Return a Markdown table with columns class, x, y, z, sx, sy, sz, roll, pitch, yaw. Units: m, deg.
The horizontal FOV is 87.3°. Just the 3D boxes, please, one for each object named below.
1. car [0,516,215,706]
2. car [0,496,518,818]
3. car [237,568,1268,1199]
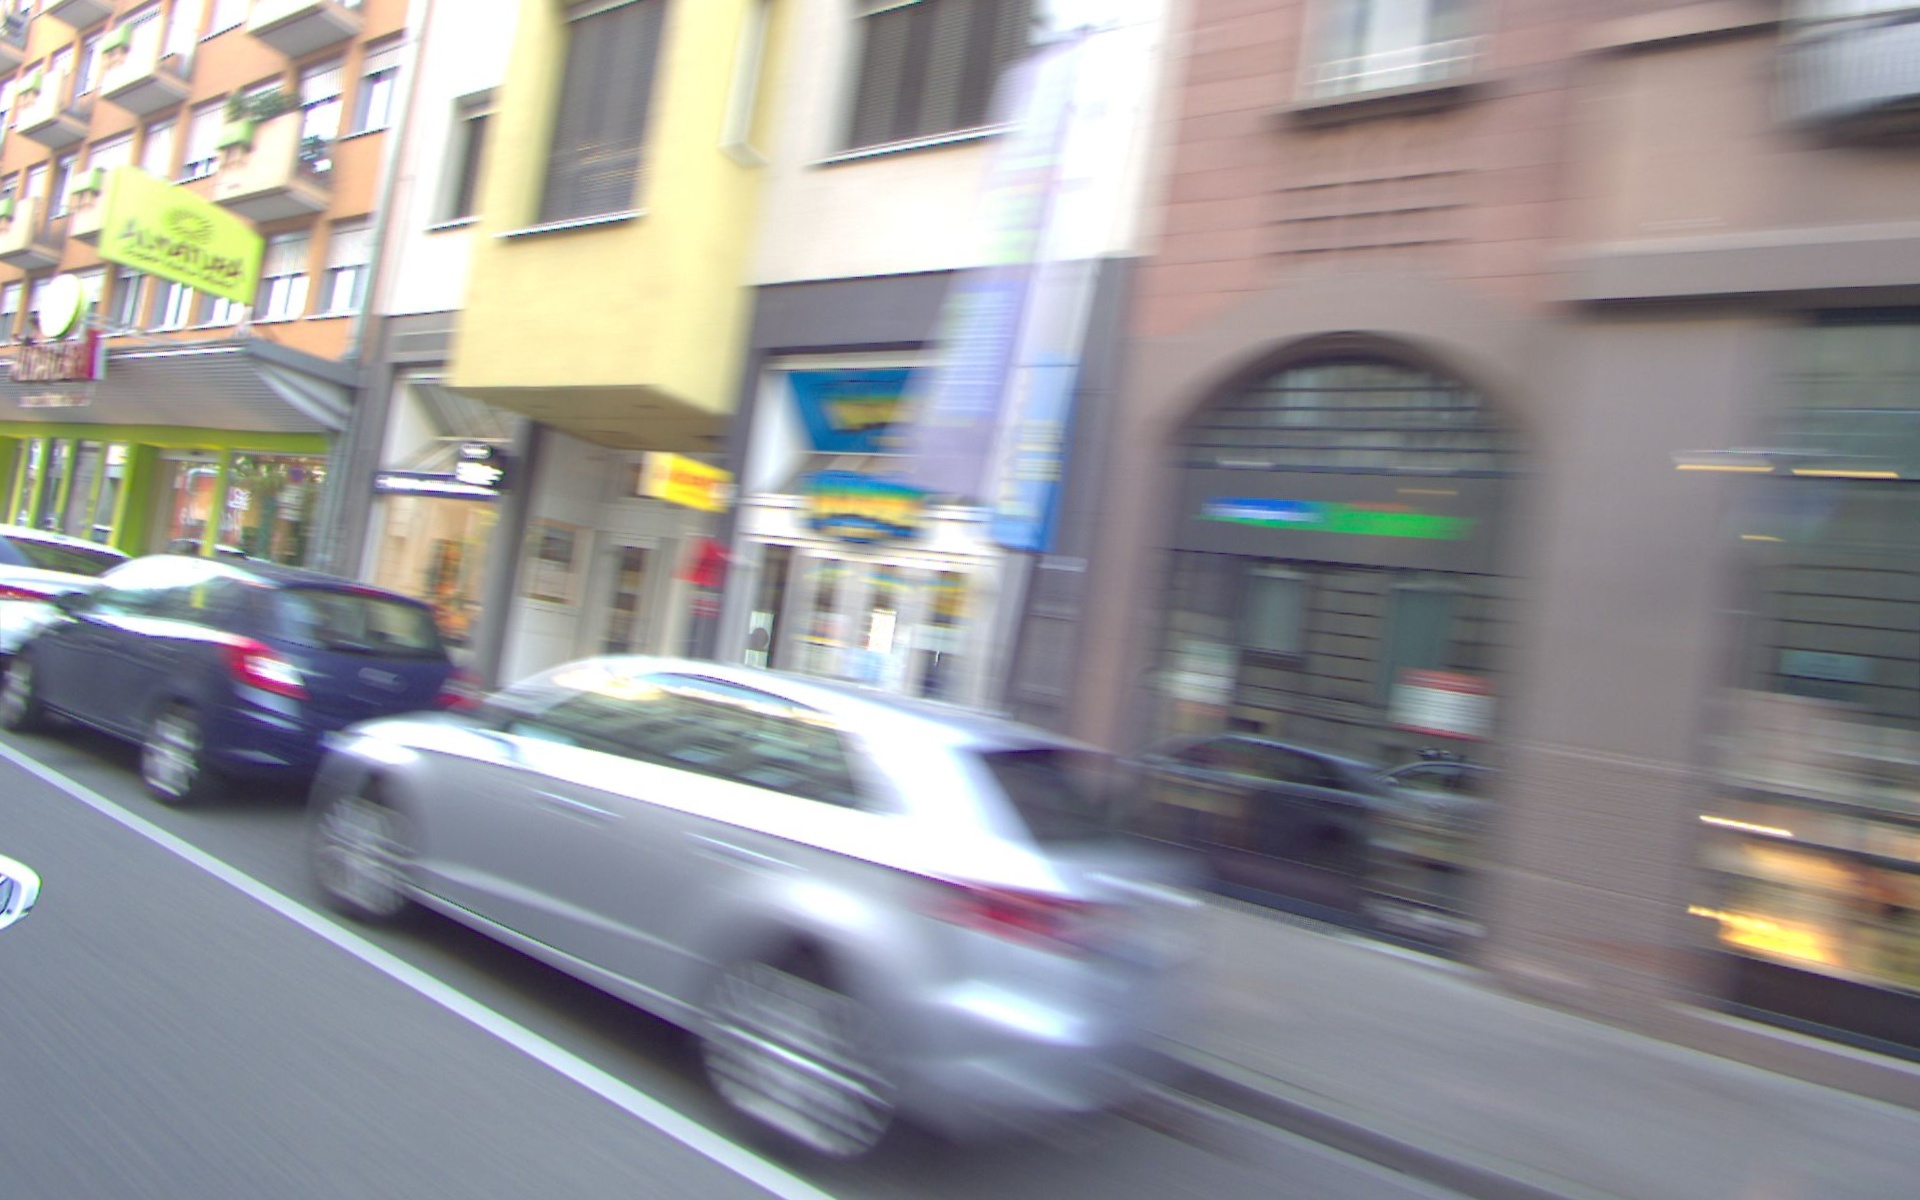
| class | x | y | z | sx | sy | sz | roll | pitch | yaw |
| --- | --- | --- | --- | --- | --- | --- | --- | --- | --- |
| car | -9.610 | -0.111 | 9.959 | 4.559 | 1.424 | 1.699 | 8 | -5 | 29 |
| car | -5.321 | 0.335 | 7.260 | 4.103 | 1.530 | 1.625 | 8 | -5 | 31 |
| car | -1.166 | 0.945 | 4.488 | 4.425 | 1.467 | 1.693 | 7 | -6 | 33 |
